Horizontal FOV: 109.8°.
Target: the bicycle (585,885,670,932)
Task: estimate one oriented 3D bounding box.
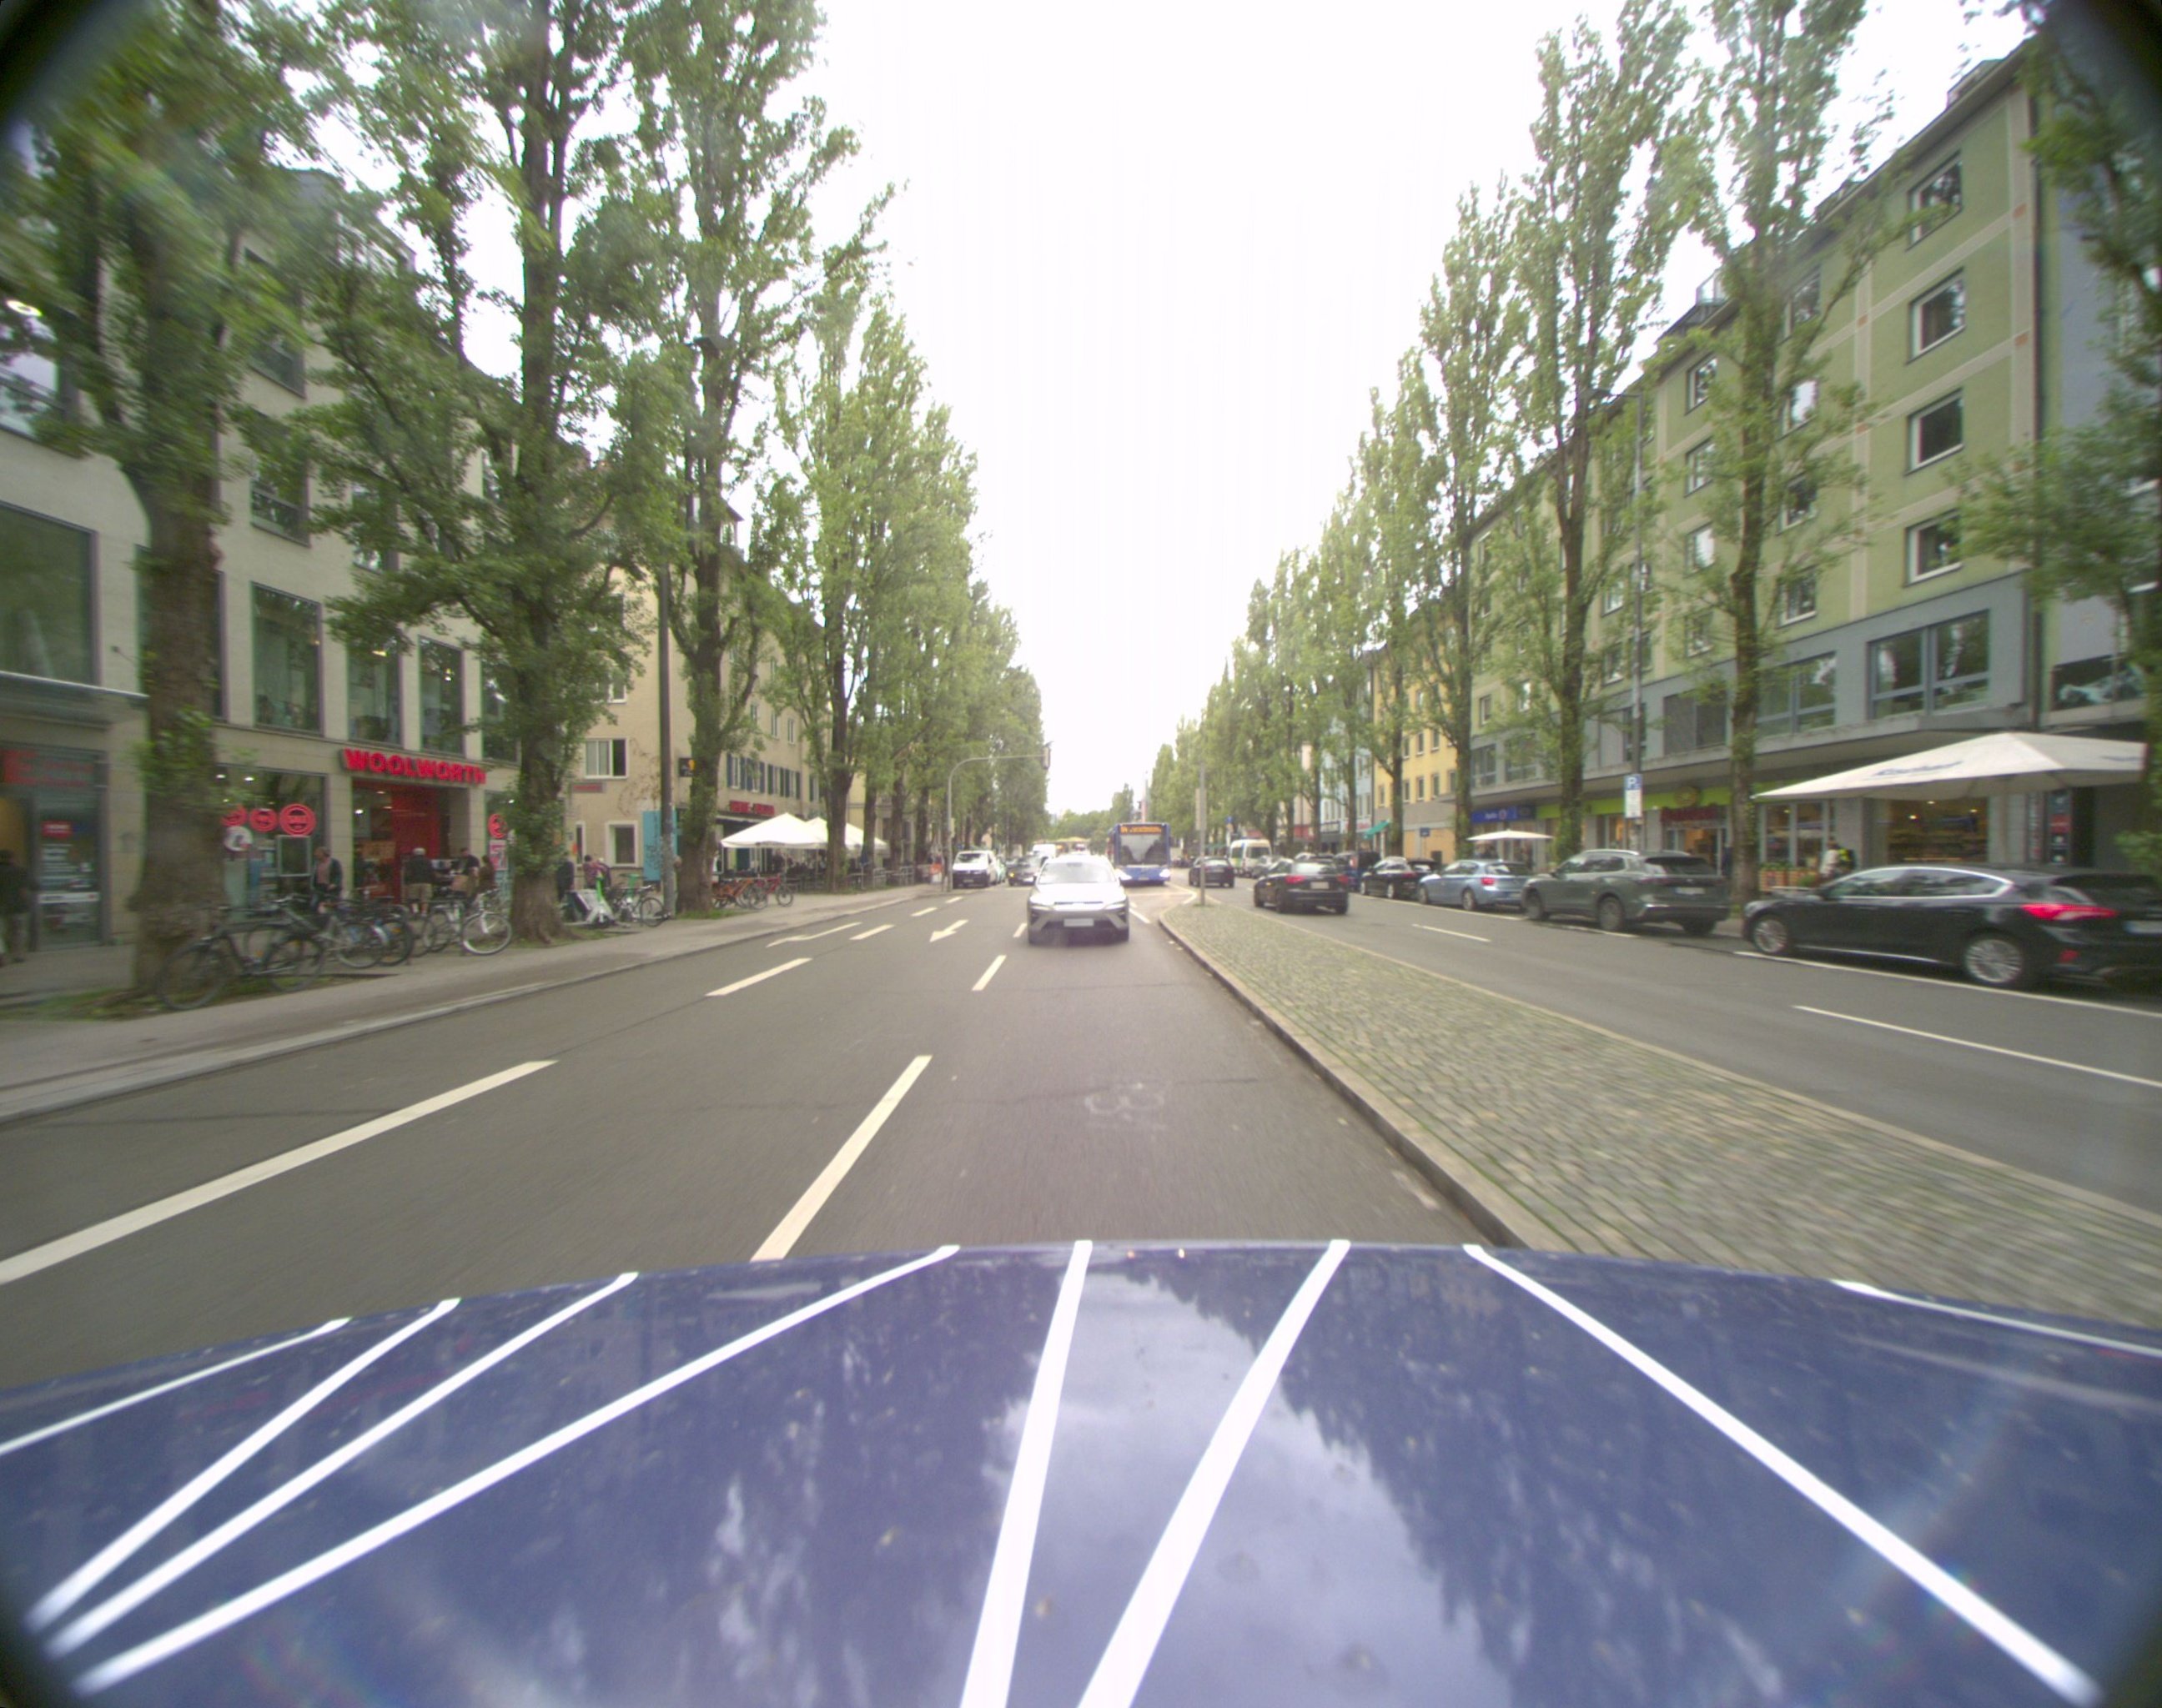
[{"bbox_3d":[-10.291,1.235,17.265,1.842,1.003,0.393,1,1,10],"label":"bicycle"}]

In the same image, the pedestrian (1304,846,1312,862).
[{"bbox_3d":[20.454,-0.017,68.377,0.609,1.430,0.551,0,1,7],"label":"pedestrian"}]

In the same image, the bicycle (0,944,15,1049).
[{"bbox_3d":[-10.818,1.312,6.730,2.005,0.939,0.286,-1,1,-8],"label":"bicycle"}]

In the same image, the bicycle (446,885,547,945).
[{"bbox_3d":[-11.857,1.208,15.501,0.392,1.057,2.006,1,1,4],"label":"bicycle"}]

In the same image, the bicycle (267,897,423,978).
[{"bbox_3d":[-10.727,1.205,11.111,1.666,1.100,0.396,-1,1,-11],"label":"bicycle"}]

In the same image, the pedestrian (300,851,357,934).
[{"bbox_3d":[-16.435,0.829,16.611,0.547,1.757,0.642,-1,1,2],"label":"pedestrian"}]

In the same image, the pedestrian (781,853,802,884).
[{"bbox_3d":[-14.905,0.743,39.174,0.696,1.568,0.874,-1,1,1],"label":"pedestrian"}]

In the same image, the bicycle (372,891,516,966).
[{"bbox_3d":[-10.276,1.193,12.296,1.871,1.129,0.339,-1,1,-8],"label":"bicycle"}]

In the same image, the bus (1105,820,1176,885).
[{"bbox_3d":[2.868,-0.112,40.452,2.806,2.886,12.856,-1,0,0],"label":"bus"}]

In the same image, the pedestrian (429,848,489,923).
[{"bbox_3d":[-15.684,0.771,19.174,0.753,1.843,0.821,-1,1,2],"label":"pedestrian"}]

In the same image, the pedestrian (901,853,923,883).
[{"bbox_3d":[-10.377,0.852,46.634,0.941,1.756,0.837,-1,1,39],"label":"pedestrian"}]

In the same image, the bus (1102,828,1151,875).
[{"bbox_3d":[2.986,-0.164,53.327,2.806,2.886,12.857,-1,0,1],"label":"bus"}]

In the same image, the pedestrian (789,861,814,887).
[{"bbox_3d":[-13.596,0.966,36.958,0.775,1.209,1.023,-1,1,4],"label":"pedestrian"}]

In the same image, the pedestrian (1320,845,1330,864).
[{"bbox_3d":[21.311,0.009,66.356,0.723,1.641,0.706,-1,1,1],"label":"pedestrian"}]

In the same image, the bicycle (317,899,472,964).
[{"bbox_3d":[-11.320,1.270,12.568,2.005,0.982,0.392,-1,1,-8],"label":"bicycle"}]

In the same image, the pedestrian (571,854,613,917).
[{"bbox_3d":[-12.975,0.820,20.170,0.547,1.639,0.751,-1,1,4],"label":"pedestrian"}]

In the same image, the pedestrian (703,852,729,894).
[{"bbox_3d":[-14.708,0.763,30.606,0.668,1.654,0.692,-1,1,0],"label":"pedestrian"}]

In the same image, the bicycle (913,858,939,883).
[{"bbox_3d":[-9.011,0.921,44.100,0.829,1.403,2.594,-2,0,-25],"label":"bicycle"}]

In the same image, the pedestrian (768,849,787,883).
[{"bbox_3d":[-15.622,0.627,39.133,0.629,1.709,0.681,-1,1,1],"label":"pedestrian"}]

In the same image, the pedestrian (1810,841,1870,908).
[{"bbox_3d":[20.123,0.532,20.153,0.820,1.744,0.756,-1,1,1],"label":"pedestrian"}]

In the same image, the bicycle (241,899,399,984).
[{"bbox_3d":[-10.684,1.218,10.703,1.679,1.111,0.286,-1,1,-12],"label":"bicycle"}]

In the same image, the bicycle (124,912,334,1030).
[{"bbox_3d":[-9.739,1.278,8.814,0.435,1.055,2.003,-1,0,-9],"label":"bicycle"}]

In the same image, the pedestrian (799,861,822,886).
[{"bbox_3d":[-13.549,0.968,38.051,0.667,1.209,1.023,-1,1,4],"label":"pedestrian"}]

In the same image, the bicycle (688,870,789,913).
[{"bbox_3d":[-10.180,1.096,22.660,2.577,1.208,0.965,-1,1,1],"label":"bicycle"}]

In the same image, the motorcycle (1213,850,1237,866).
[{"bbox_3d":[12.601,0.324,66.491,2.023,1.413,0.570,0,1,-6],"label":"motorcycle"}]

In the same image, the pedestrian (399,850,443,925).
[{"bbox_3d":[-15.922,0.793,18.342,0.596,1.757,0.640,-2,1,-23],"label":"pedestrian"}]

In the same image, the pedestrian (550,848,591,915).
[{"bbox_3d":[-13.637,0.725,20.312,0.566,1.732,0.697,-1,1,4],"label":"pedestrian"}]

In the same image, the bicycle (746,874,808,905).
[{"bbox_3d":[-9.975,1.161,24.951,1.844,1.003,0.503,-1,1,1],"label":"bicycle"}]

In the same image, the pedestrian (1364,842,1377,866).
[{"bbox_3d":[20.650,-0.021,54.133,0.640,1.694,0.724,-1,1,0],"label":"pedestrian"}]

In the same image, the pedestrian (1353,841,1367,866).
[{"bbox_3d":[19.845,-0.005,54.060,0.732,1.755,0.724,-1,1,0],"label":"pedestrian"}]

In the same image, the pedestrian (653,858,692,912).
[{"bbox_3d":[-12.294,0.916,22.900,0.711,1.580,0.793,1,1,1],"label":"pedestrian"}]

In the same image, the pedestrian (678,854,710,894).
[{"bbox_3d":[-16.007,0.827,31.455,0.764,1.594,1.016,-1,1,1],"label":"pedestrian"}]

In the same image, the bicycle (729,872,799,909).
[{"bbox_3d":[-10.017,1.161,24.028,1.902,1.120,0.686,-1,1,1],"label":"bicycle"}]
